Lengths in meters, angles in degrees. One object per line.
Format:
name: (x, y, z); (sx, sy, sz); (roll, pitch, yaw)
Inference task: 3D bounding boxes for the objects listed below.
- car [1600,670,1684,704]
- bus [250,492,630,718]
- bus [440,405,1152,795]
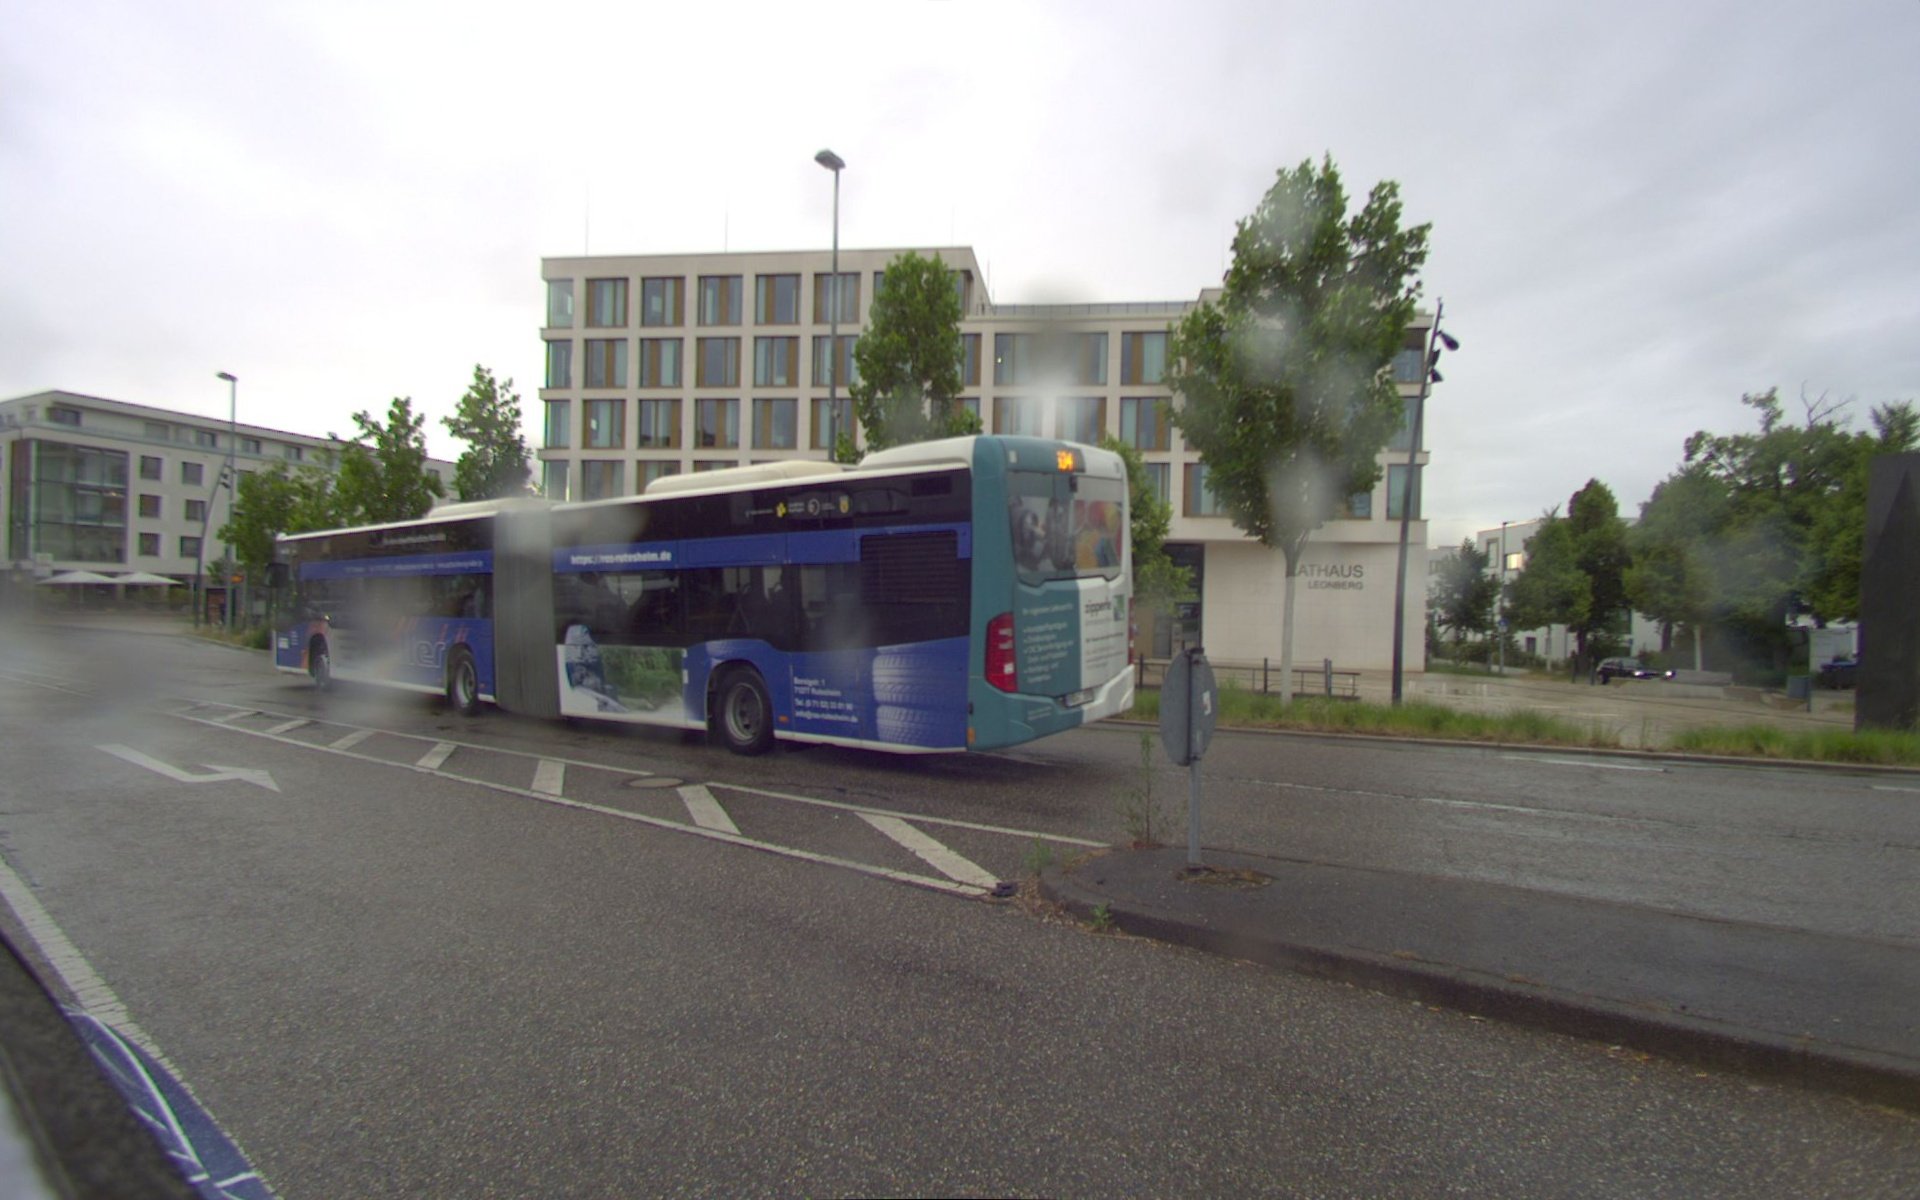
car: (32.881, 4.178, 48.921); (1.771, 1.401, 4.266); (0, -2, 11)
bus: (-9.568, 0.136, 17.989); (8.876, 3.138, 2.763); (-1, -2, 40)
bus: (-2.563, 0.058, 12.096); (9.353, 3.138, 2.750); (-1, -2, 38)
